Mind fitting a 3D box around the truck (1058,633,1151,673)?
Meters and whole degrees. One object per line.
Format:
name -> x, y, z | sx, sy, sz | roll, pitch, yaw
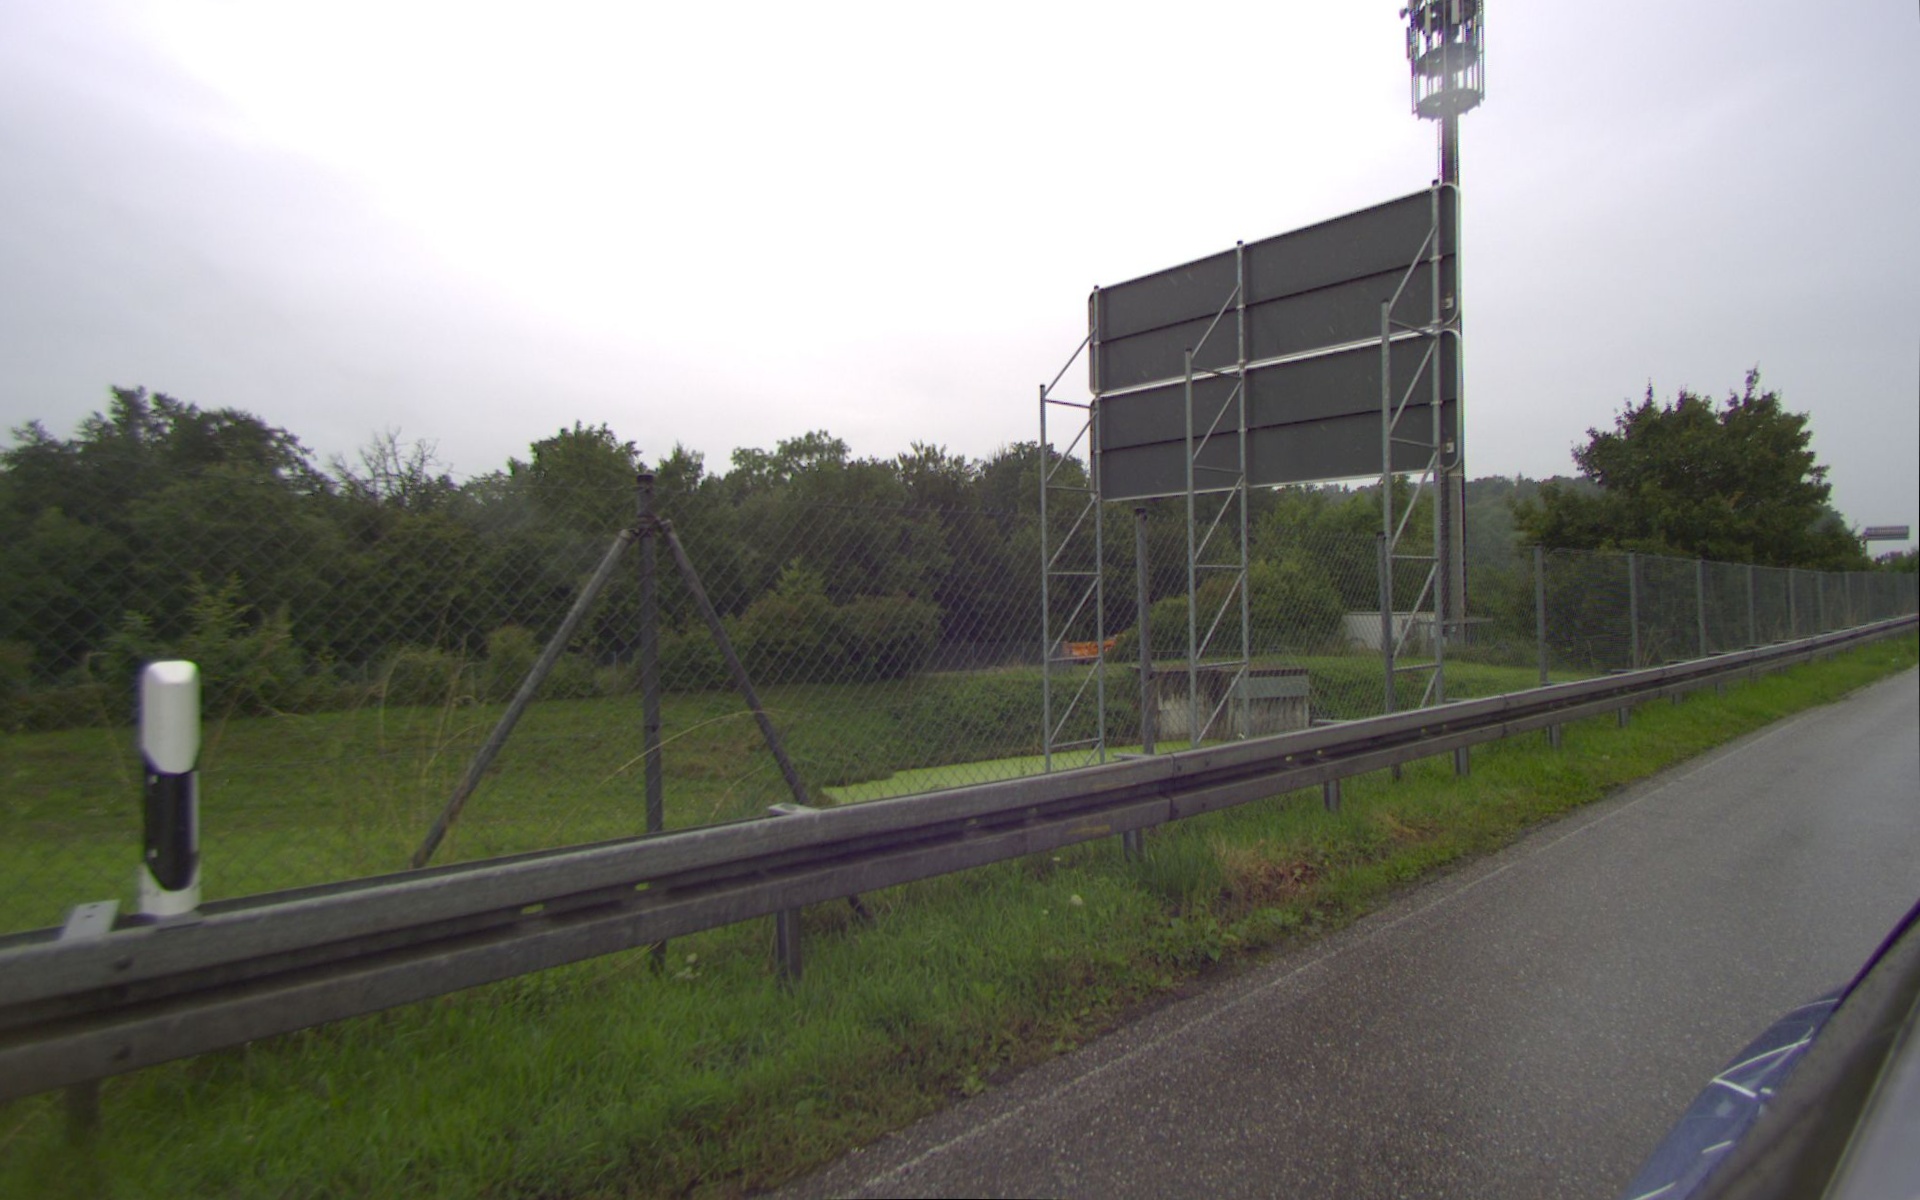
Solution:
truck -> 11.292, 4.092, 78.472 | 2.824, 2.697, 8.132 | -7, -5, 44
